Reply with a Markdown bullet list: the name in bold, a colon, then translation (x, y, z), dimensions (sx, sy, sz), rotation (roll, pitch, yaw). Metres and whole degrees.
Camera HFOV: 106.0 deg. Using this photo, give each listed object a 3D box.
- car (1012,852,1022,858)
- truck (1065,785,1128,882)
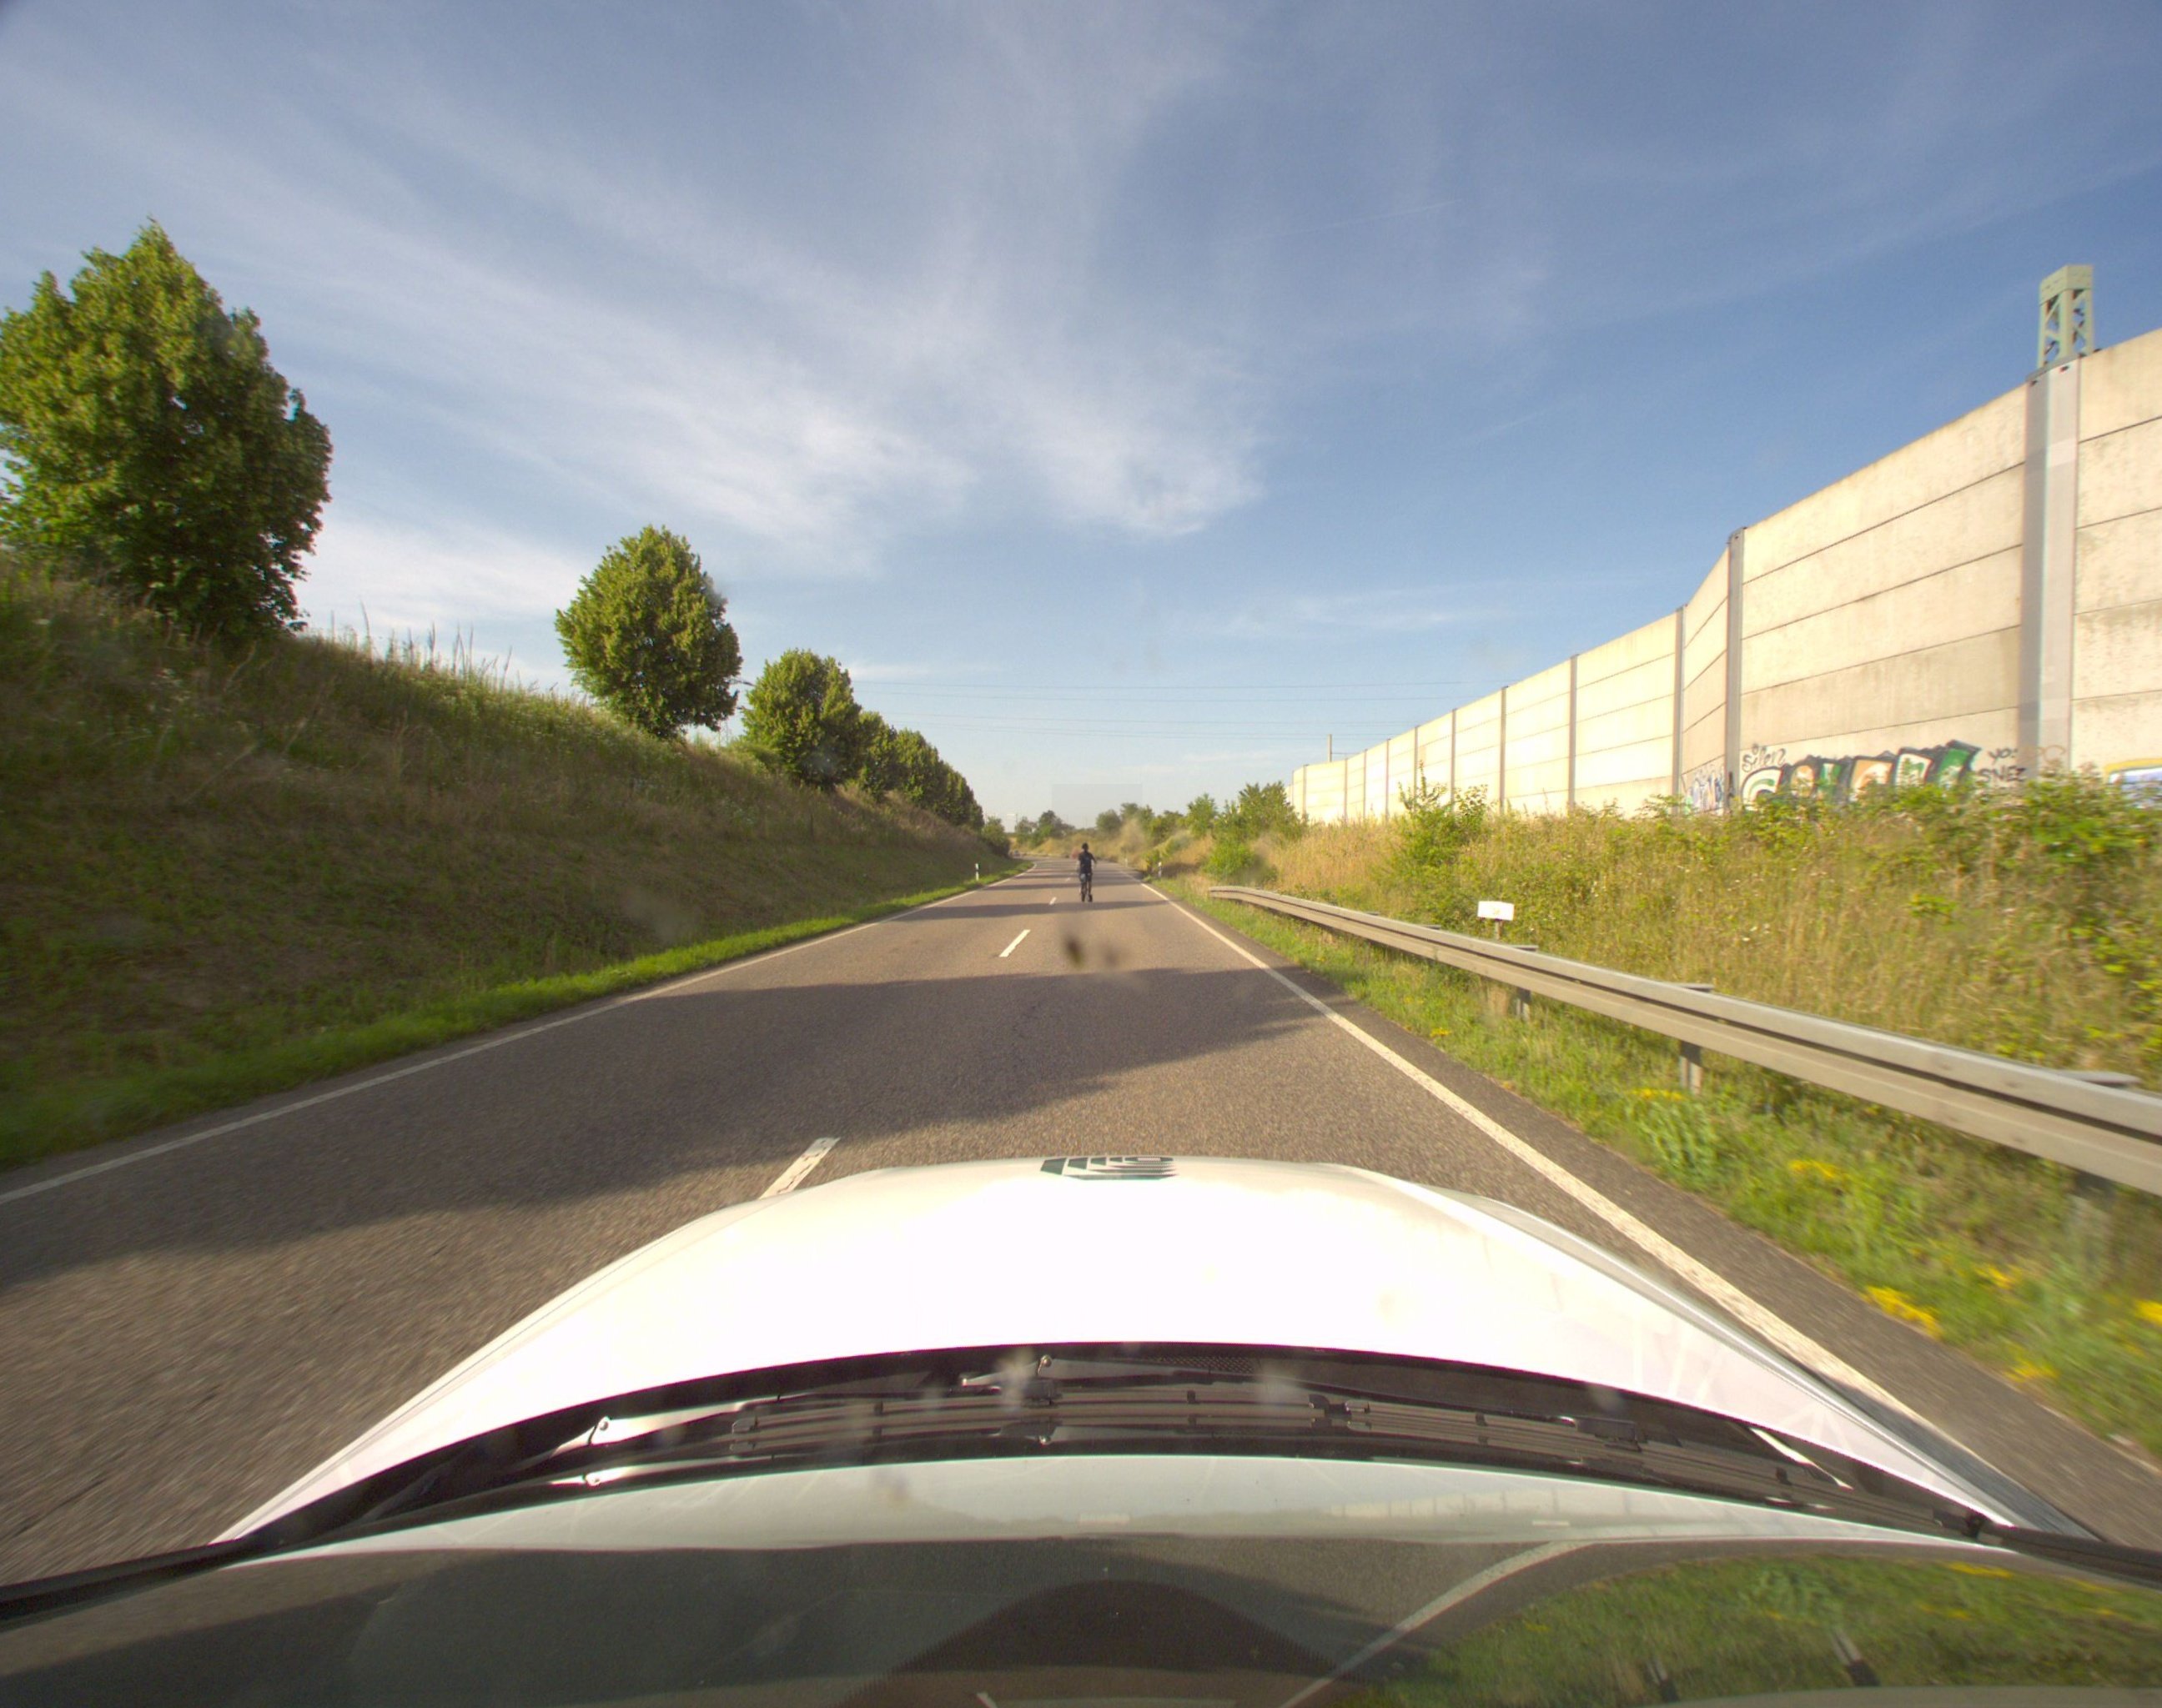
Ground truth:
- **car**: translation (-16.368, 0.345, 209.822), dimensions (2.038, 1.581, 4.362), rotation (0, 0, 2)
- **truck**: translation (0.930, -1.159, 49.349), dimensions (3.279, 5.089, 12.039), rotation (-1, 1, 1)
